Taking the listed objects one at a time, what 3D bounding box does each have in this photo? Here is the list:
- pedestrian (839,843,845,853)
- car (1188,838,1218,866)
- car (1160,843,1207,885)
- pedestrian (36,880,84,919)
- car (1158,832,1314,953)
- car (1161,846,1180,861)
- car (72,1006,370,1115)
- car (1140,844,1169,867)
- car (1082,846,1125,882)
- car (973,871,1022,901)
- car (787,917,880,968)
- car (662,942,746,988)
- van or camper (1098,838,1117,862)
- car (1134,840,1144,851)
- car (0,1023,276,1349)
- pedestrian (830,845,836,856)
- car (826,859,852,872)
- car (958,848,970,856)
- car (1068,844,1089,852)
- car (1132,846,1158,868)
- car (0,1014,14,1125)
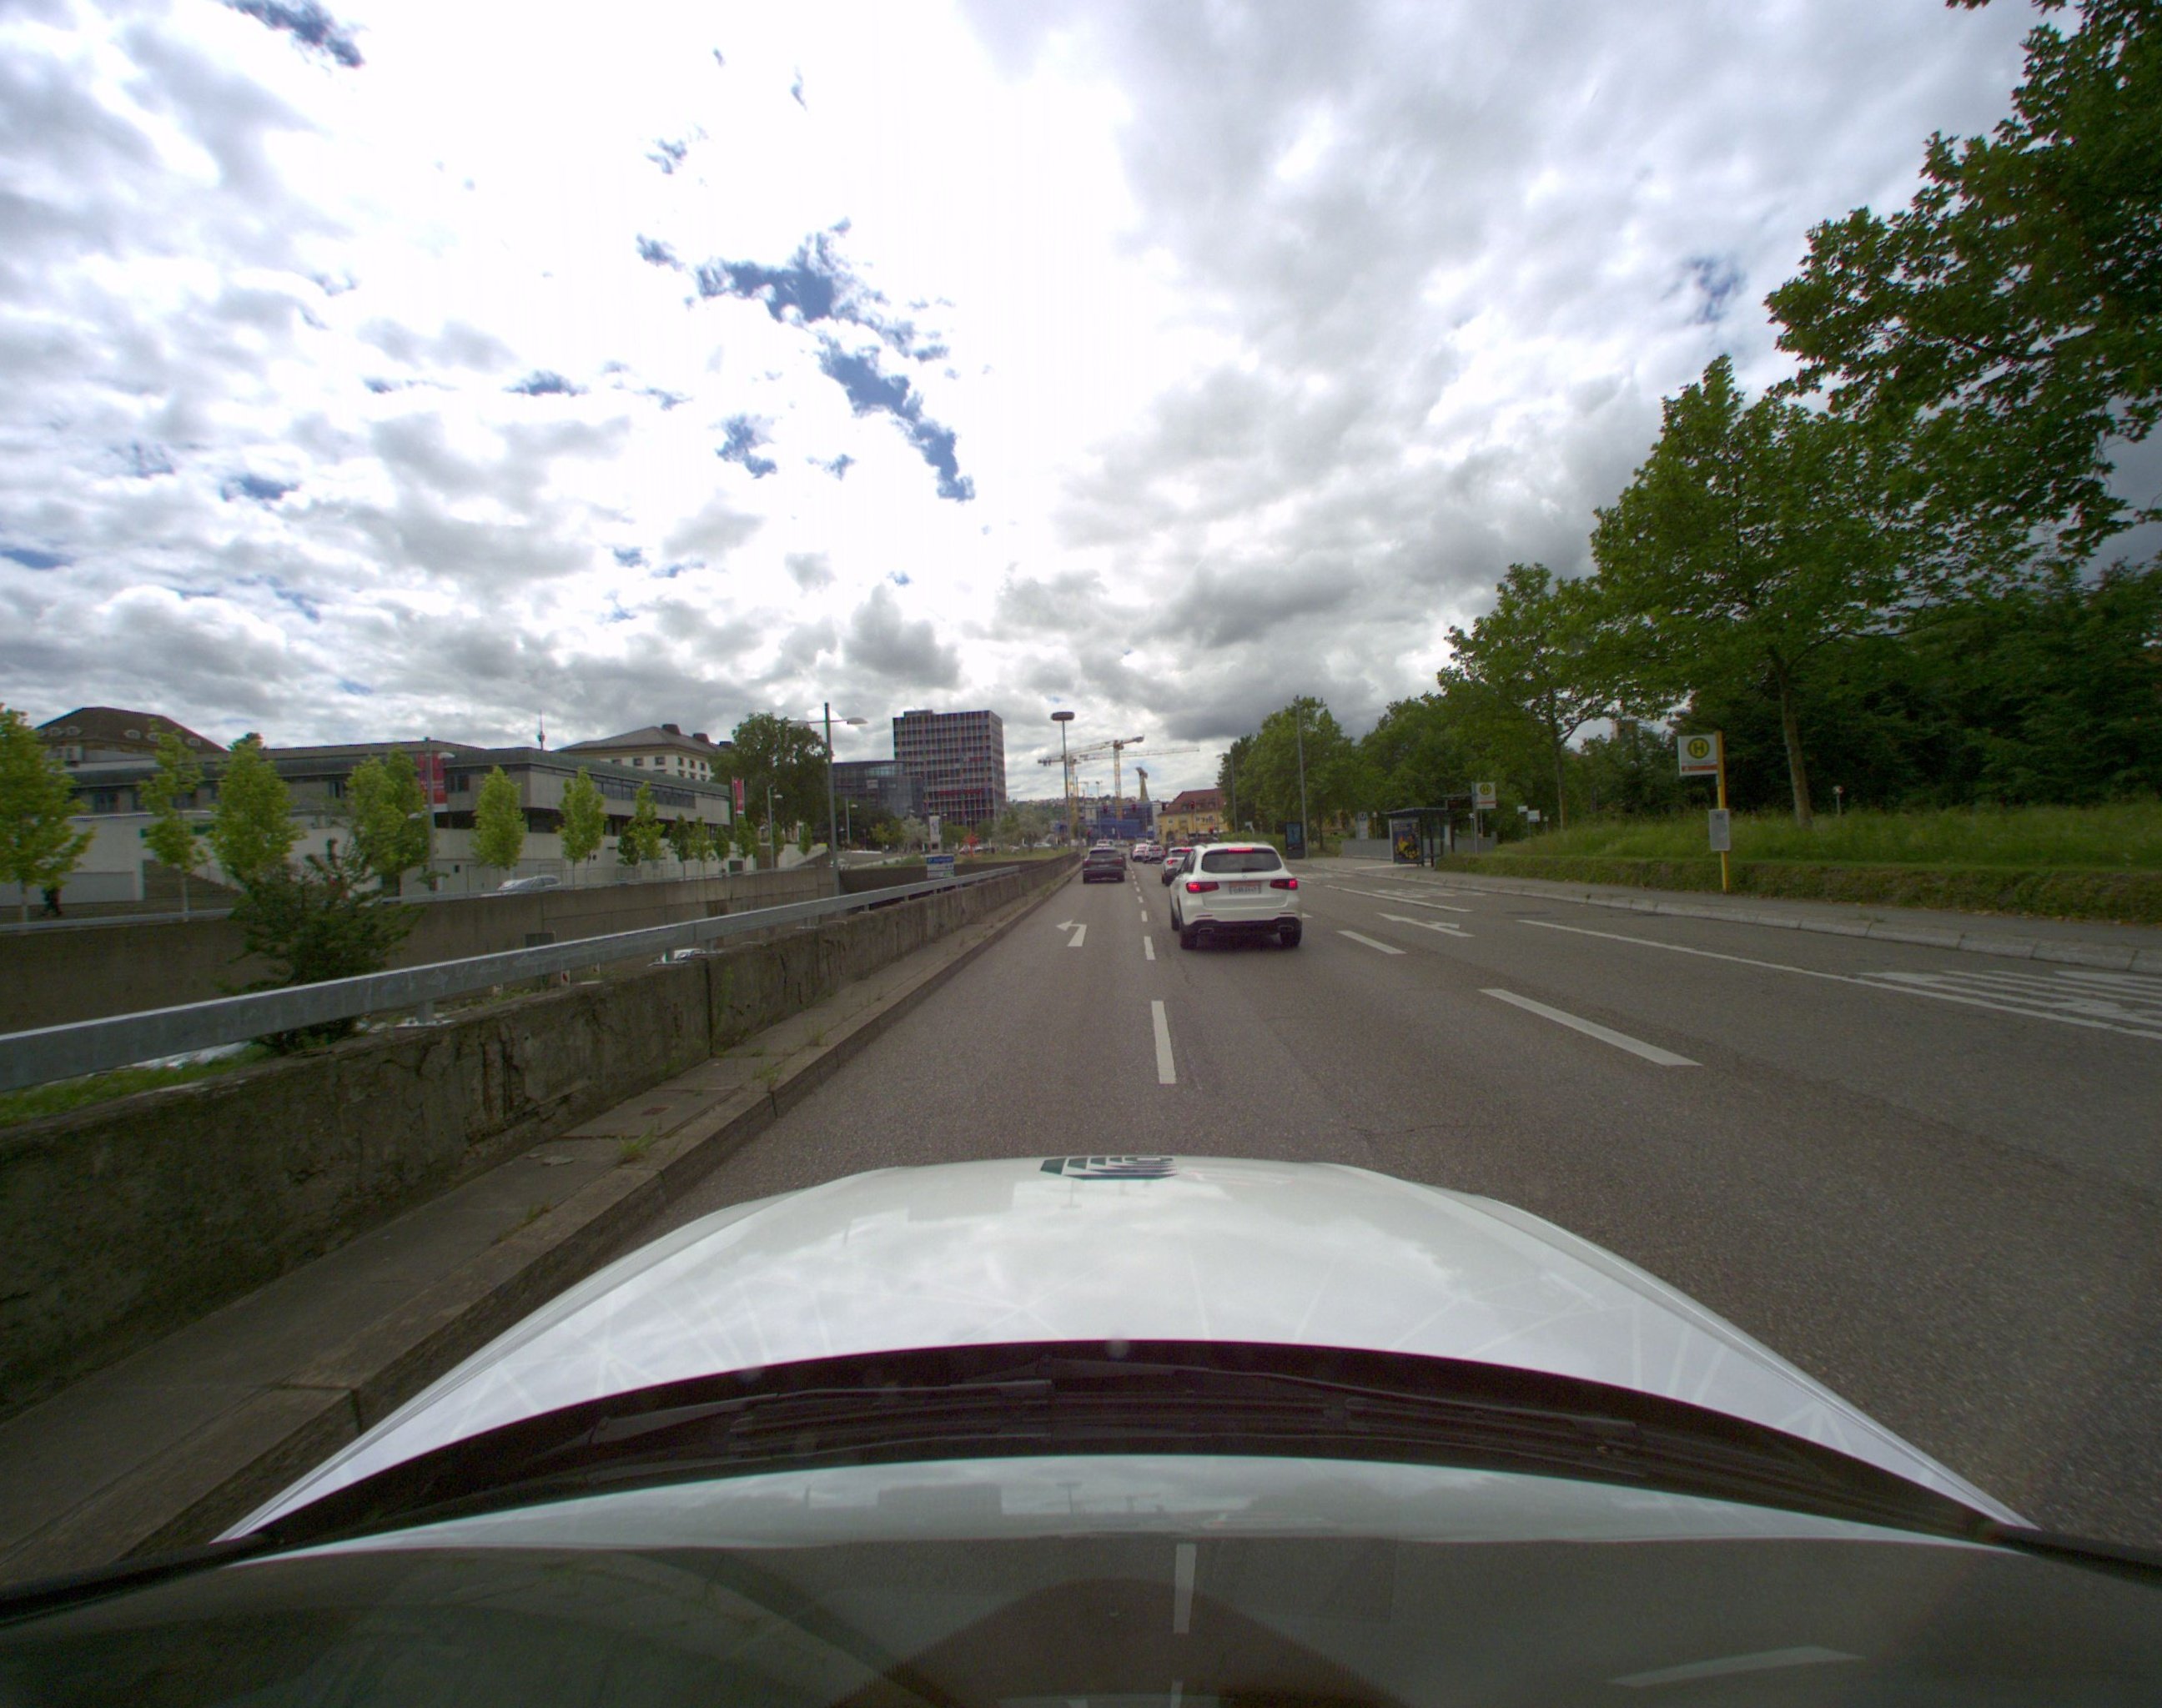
[{"bbox_3d":[-38.896,-0.982,132.391,0.686,1.729,0.645,-1,-1,26],"label":"pedestrian"},{"bbox_3d":[9.245,-0.153,61.882,1.781,2.013,4.002,-2,0,2],"label":"car"},{"bbox_3d":[4.240,0.403,34.058,1.665,1.628,4.003,-1,-1,3],"label":"car"},{"bbox_3d":[-45.103,2.013,35.999,0.639,1.640,1.003,6,-1,2],"label":"pedestrian"},{"bbox_3d":[2.434,0.590,13.807,1.933,1.684,4.001,-2,-1,2],"label":"car"},{"bbox_3d":[9.915,-0.038,90.328,1.713,1.584,4.000,-1,0,1],"label":"car"},{"bbox_3d":[-16.556,3.934,16.014,1.691,1.273,3.822,-1,-2,2],"label":"car"},{"bbox_3d":[5.691,0.152,63.321,1.986,1.662,4.001,-1,-1,2],"label":"car"},{"bbox_3d":[1.103,0.465,39.259,1.915,1.602,4.002,-2,0,2],"label":"car"},{"bbox_3d":[-3.980,1.521,39.371,1.712,1.292,4.004,-1,0,3],"label":"car"},{"bbox_3d":[-9.431,3.348,31.473,1.804,1.460,4.867,-1,-1,3],"label":"car"},{"bbox_3d":[-17.239,5.051,37.437,1.742,1.486,4.218,-2,0,2],"label":"car"},{"bbox_3d":[2.695,-0.346,83.102,1.915,2.320,4.001,1,-2,2],"label":"van or camper"},{"bbox_3d":[11.048,-1.550,155.747,1.793,2.014,4.001,-1,-1,2],"label":"car"},{"bbox_3d":[-7.893,2.329,4.591,1.886,1.715,4.661,-2,0,3],"label":"car"},{"bbox_3d":[-37.094,-0.498,121.737,0.686,1.729,0.645,-2,-2,39],"label":"pedestrian"},{"bbox_3d":[-27.576,1.275,92.961,1.803,1.427,3.708,-1,-1,1],"label":"car"},{"bbox_3d":[-24.319,-0.470,168.673,1.860,1.618,3.482,-1,-1,2],"label":"car"},{"bbox_3d":[-0.650,-1.629,215.704,5.221,2.060,1.885,-1,-1,31],"label":"car"},{"bbox_3d":[5.472,0.297,70.177,1.986,1.781,4.001,-1,-1,2],"label":"car"},{"bbox_3d":[-19.732,3.731,11.870,1.811,1.897,4.904,-1,-1,1],"label":"car"}]
